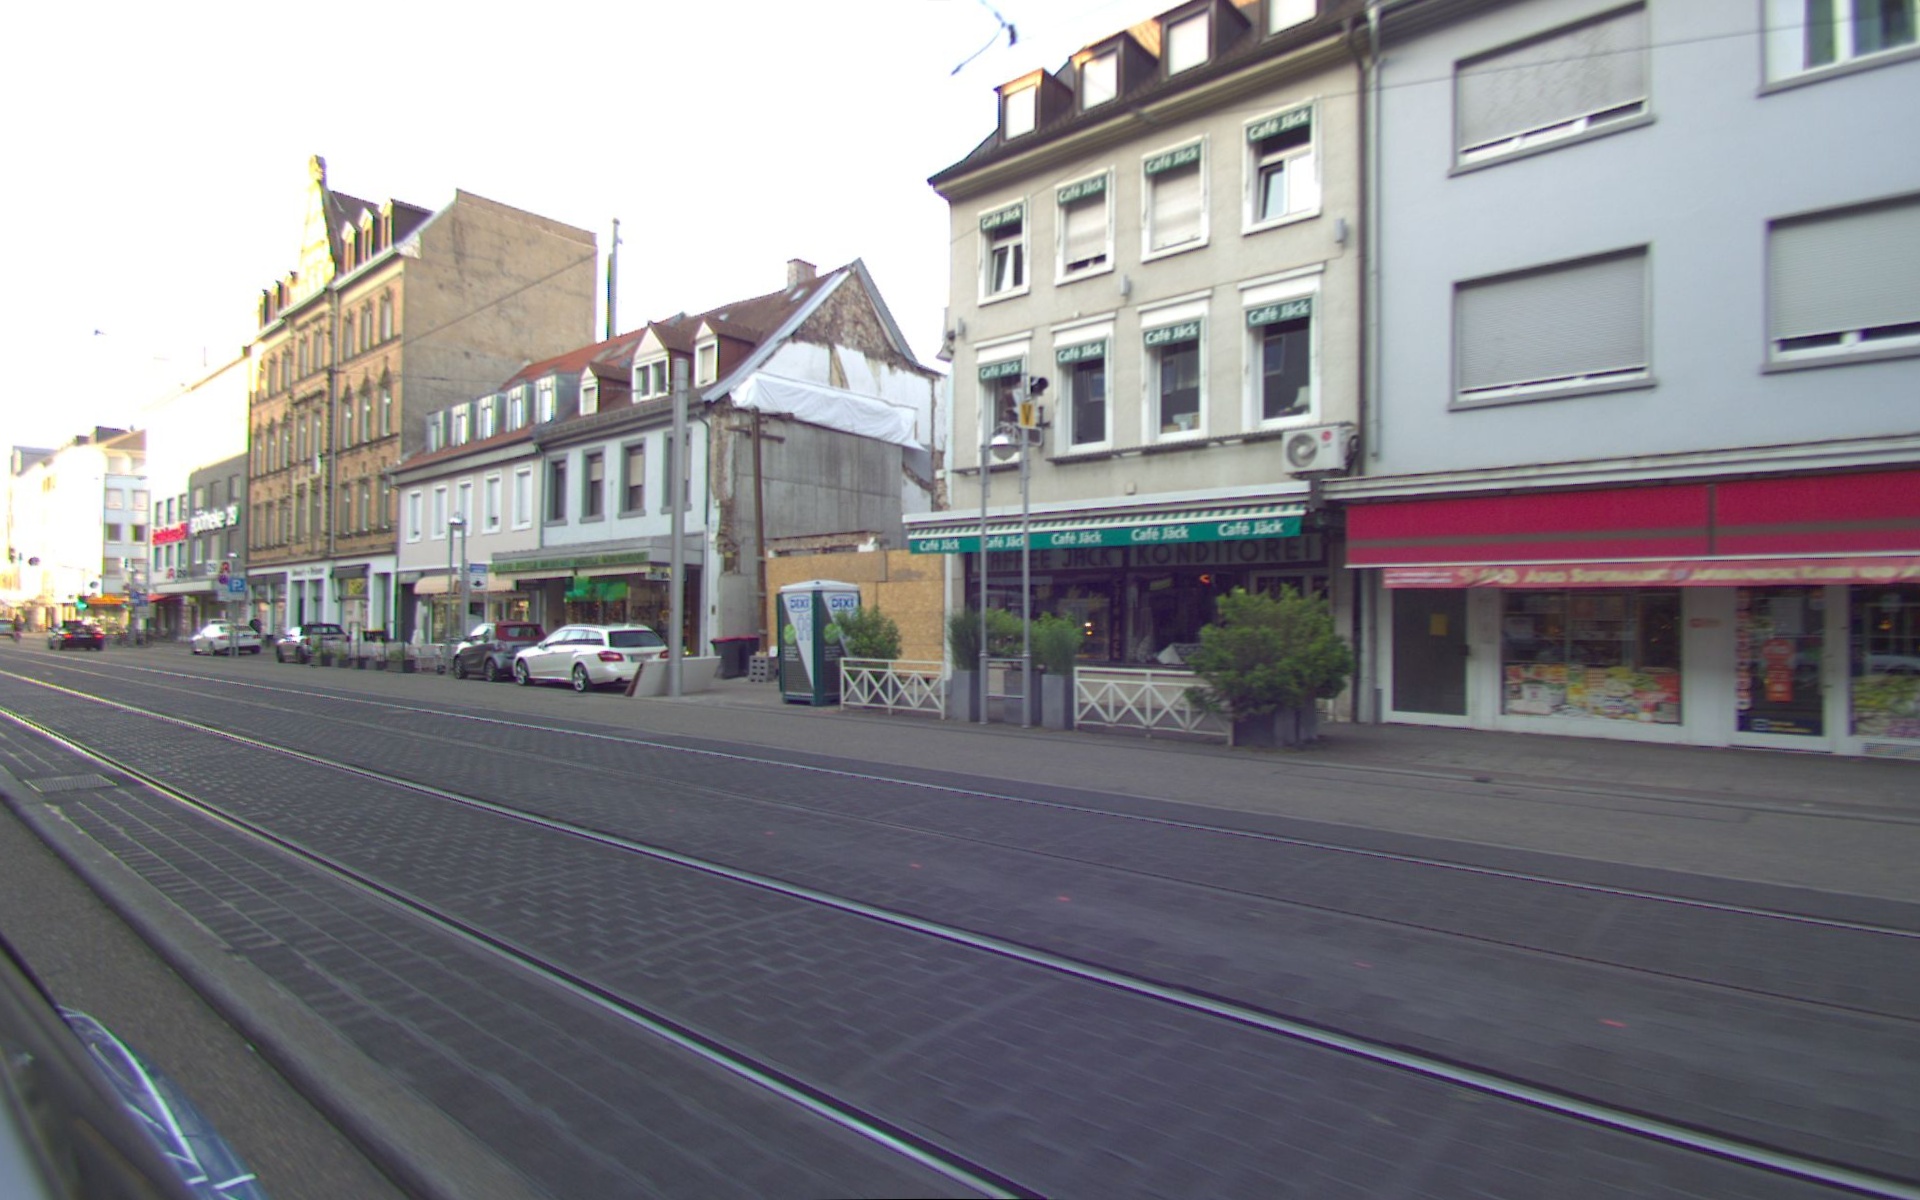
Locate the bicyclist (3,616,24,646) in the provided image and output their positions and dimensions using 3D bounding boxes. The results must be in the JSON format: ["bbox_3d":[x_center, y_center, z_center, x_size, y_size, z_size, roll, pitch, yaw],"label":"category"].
[{"bbox_3d":[-58.182,1.883,62.220,0.900,1.819,0.871,-1,0,42],"label":"bicyclist"}]

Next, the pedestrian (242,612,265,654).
[{"bbox_3d":[-34.829,1.593,49.913,0.738,2.029,1.049,-1,0,-45],"label":"pedestrian"}]

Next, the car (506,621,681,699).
[{"bbox_3d":[-8.686,1.332,23.779,4.621,1.568,1.871,0,0,41],"label":"car"}]

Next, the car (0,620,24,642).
[{"bbox_3d":[-70.049,2.254,73.978,3.997,1.453,1.973,0,0,40],"label":"car"}]

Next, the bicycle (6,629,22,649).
[{"bbox_3d":[-58.139,2.378,62.197,2.264,1.199,0.487,0,0,41],"label":"bicycle"}]

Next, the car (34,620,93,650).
[{"bbox_3d":[-51.171,1.982,57.774,3.997,1.564,1.973,0,0,40],"label":"car"}]

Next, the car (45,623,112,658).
[{"bbox_3d":[-44.466,2.000,51.019,3.997,1.574,1.973,0,0,40],"label":"car"}]

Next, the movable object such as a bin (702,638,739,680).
[{"bbox_3d":[-6.114,1.499,25.808,0.657,1.053,0.674,-2,-2,45],"label":"movable object such as a bin"}]

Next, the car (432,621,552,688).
[{"bbox_3d":[-12.510,1.399,26.988,3.469,1.582,1.638,0,0,41],"label":"car"}]

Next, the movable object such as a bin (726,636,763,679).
[{"bbox_3d":[-5.609,1.495,26.312,0.657,1.053,0.674,-1,0,45],"label":"movable object such as a bin"}]

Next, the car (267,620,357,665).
[{"bbox_3d":[-24.017,1.535,37.485,3.814,1.504,1.822,0,0,41],"label":"car"}]

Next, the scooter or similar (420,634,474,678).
[{"bbox_3d":[-14.713,1.591,29.021,0.311,1.177,1.347,-1,0,43],"label":"scooter or similar"}]

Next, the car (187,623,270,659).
[{"bbox_3d":[-32.982,1.802,45.587,4.399,1.431,1.974,0,0,39],"label":"car"}]
